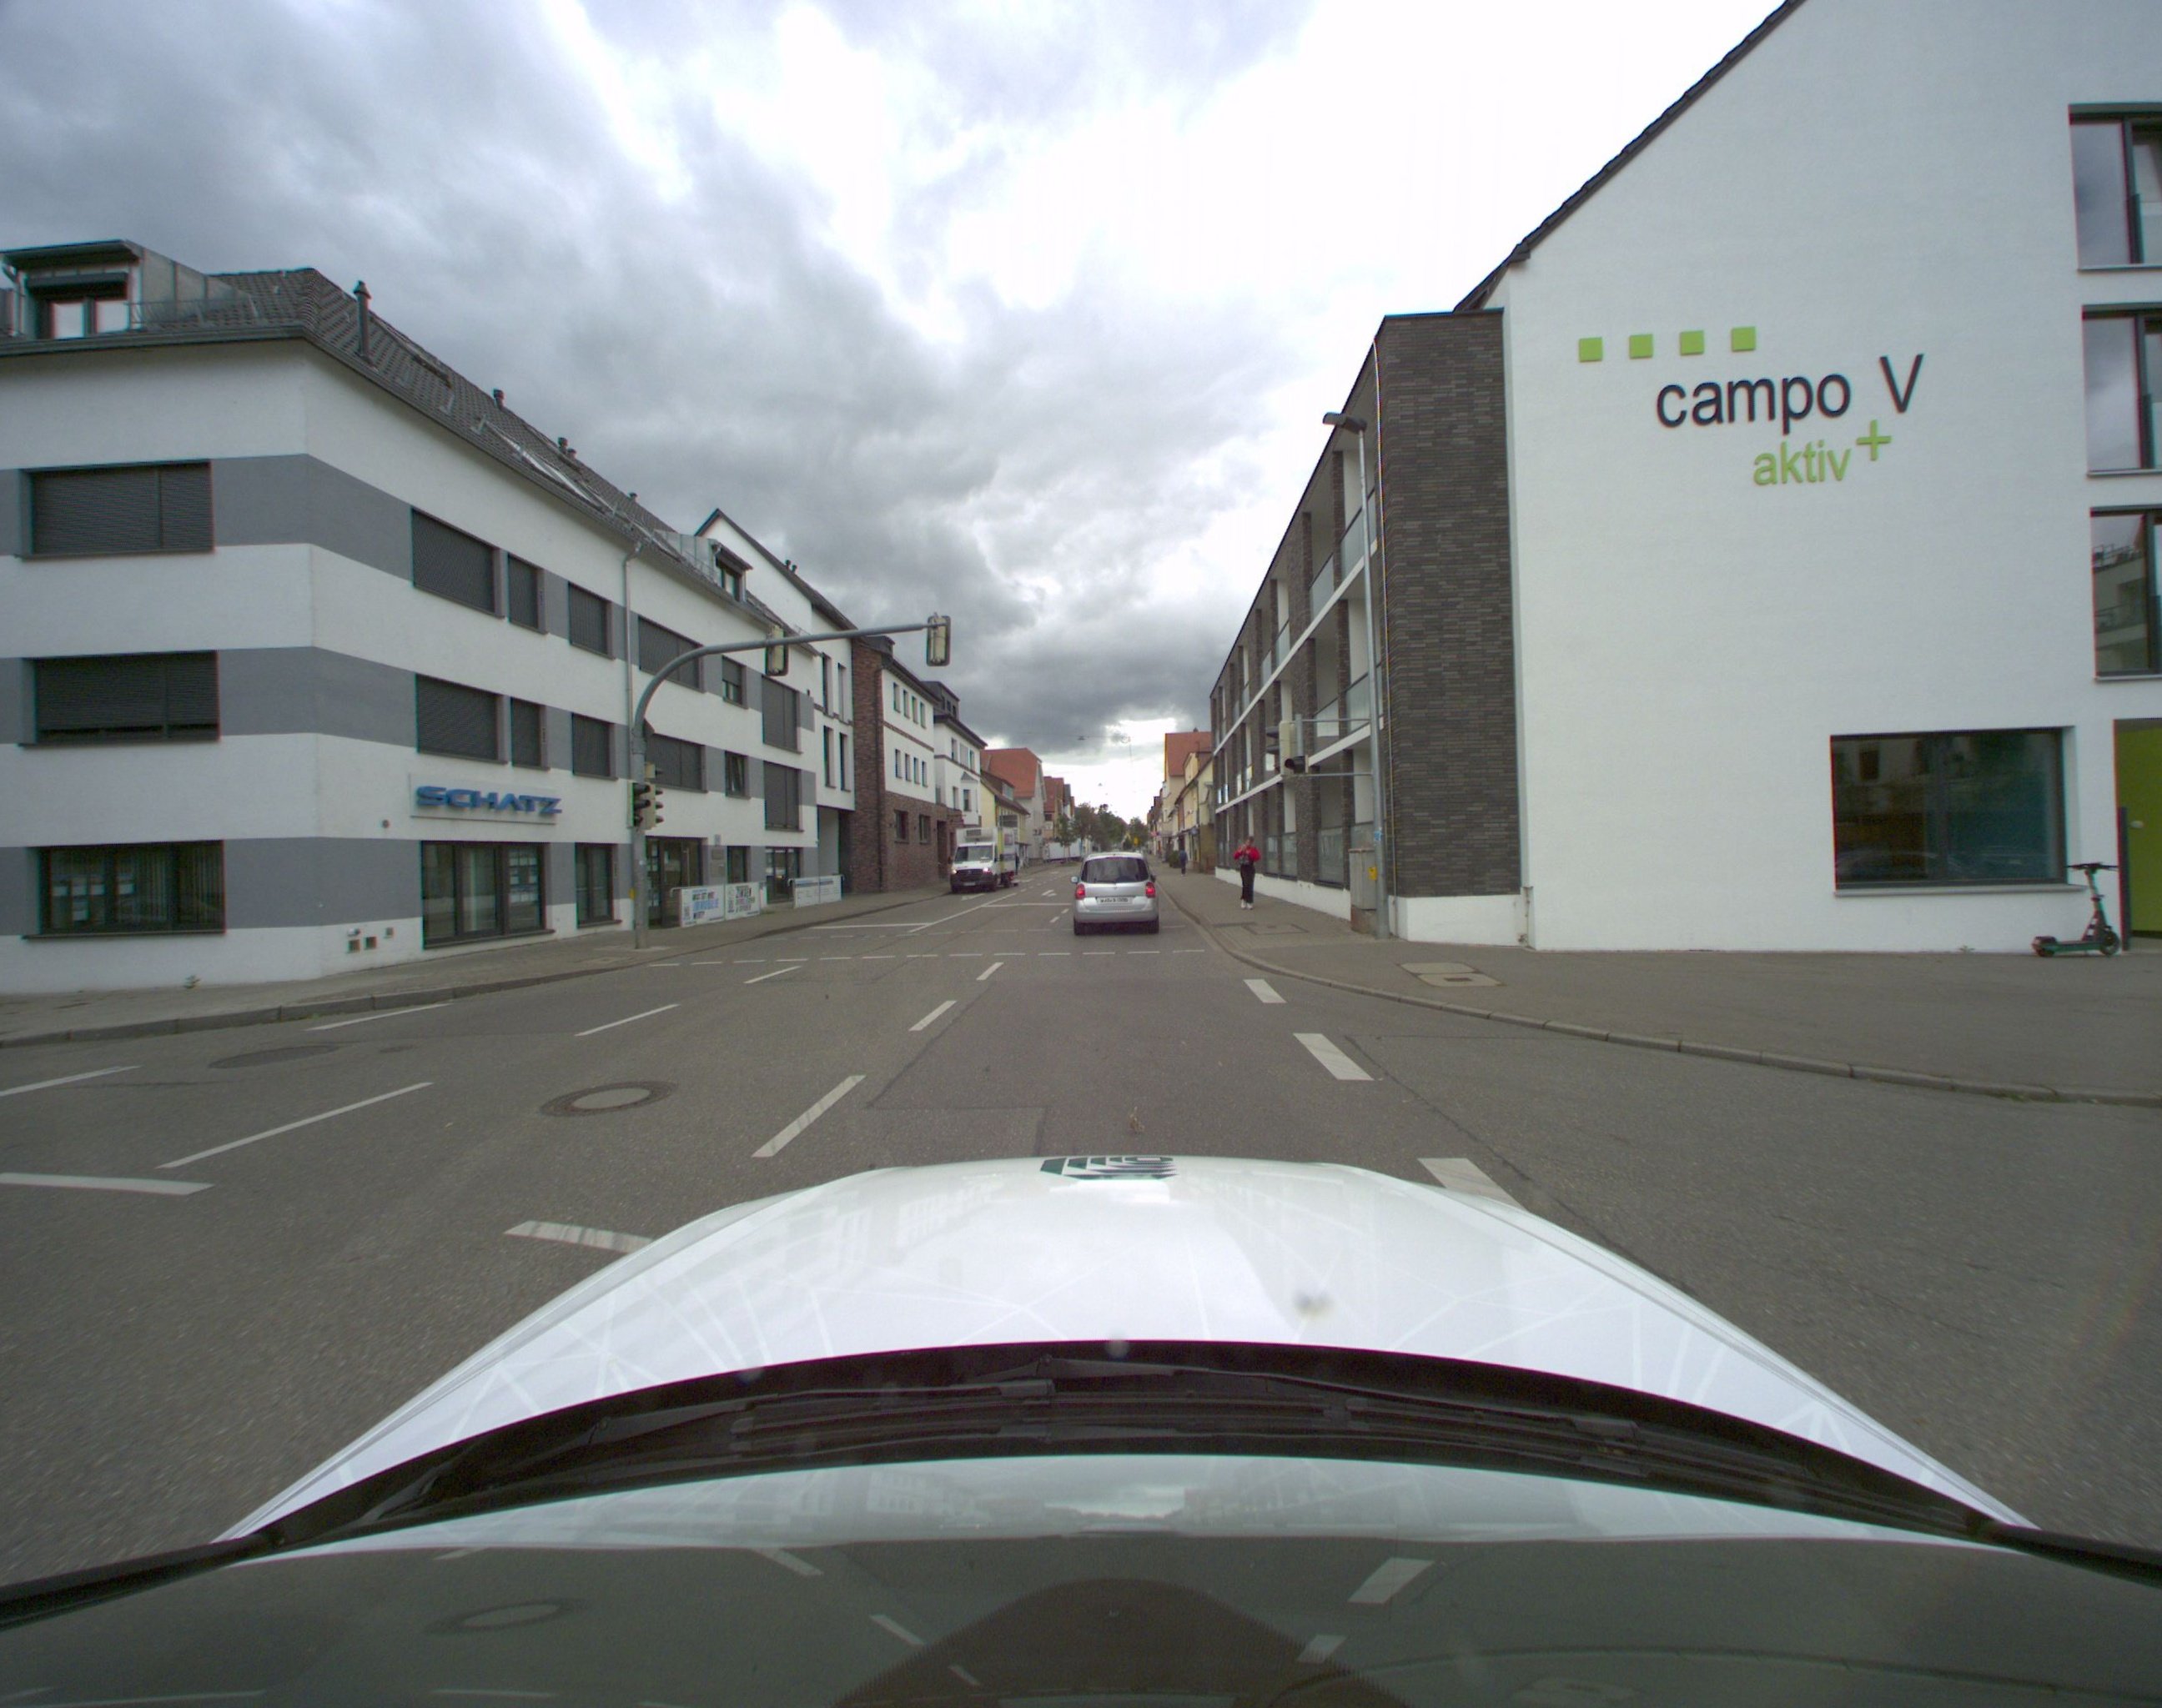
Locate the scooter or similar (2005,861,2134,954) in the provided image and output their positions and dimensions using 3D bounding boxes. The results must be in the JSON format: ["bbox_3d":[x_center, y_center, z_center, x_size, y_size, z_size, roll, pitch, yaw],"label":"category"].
[{"bbox_3d":[13.507,0.717,11.147,1.225,1.235,0.407,0,0,3],"label":"scooter or similar"}]

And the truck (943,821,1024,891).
[{"bbox_3d":[-4.517,0.067,39.406,2.425,2.953,8.370,-2,0,3],"label":"truck"}]

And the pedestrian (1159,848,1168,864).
[{"bbox_3d":[9.275,0.216,91.611,0.885,1.787,0.786,-4,0,3],"label":"pedestrian"}]

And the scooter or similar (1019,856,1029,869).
[{"bbox_3d":[-5.804,0.823,83.032,0.573,1.269,2.551,-2,0,4],"label":"scooter or similar"}]

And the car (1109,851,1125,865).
[{"bbox_3d":[3.996,0.420,90.922,1.699,1.579,4.003,0,0,3],"label":"car"}]

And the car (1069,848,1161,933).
[{"bbox_3d":[0.737,0.670,17.119,1.699,1.579,4.003,0,0,3],"label":"car"}]

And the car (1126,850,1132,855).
[{"bbox_3d":[14.069,-0.407,238.564,1.805,1.354,4.004,-2,0,4],"label":"car"}]

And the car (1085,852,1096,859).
[{"bbox_3d":[1.816,0.268,152.894,1.805,1.354,4.004,-2,0,4],"label":"car"}]

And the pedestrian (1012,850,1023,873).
[{"bbox_3d":[-4.720,0.549,60.545,0.659,1.757,0.688,0,0,3],"label":"pedestrian"}]

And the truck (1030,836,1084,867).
[{"bbox_3d":[-3.284,-0.361,110.760,6.830,3.857,2.594,-2,0,-12],"label":"truck"}]

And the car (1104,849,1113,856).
[{"bbox_3d":[6.346,-0.376,188.097,1.805,1.354,3.861,-2,0,4],"label":"car"}]

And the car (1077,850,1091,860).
[{"bbox_3d":[0.463,0.158,125.904,1.805,1.354,4.004,-2,0,4],"label":"car"}]

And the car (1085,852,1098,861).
[{"bbox_3d":[1.667,0.349,131.331,1.805,1.354,4.004,-2,0,4],"label":"car"}]

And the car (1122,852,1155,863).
[{"bbox_3d":[7.110,0.454,100.467,3.740,1.314,1.511,0,0,-18],"label":"car"}]

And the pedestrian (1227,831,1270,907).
[{"bbox_3d":[4.111,0.362,20.077,0.804,1.787,0.862,-4,0,3],"label":"pedestrian"}]

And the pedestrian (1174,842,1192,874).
[{"bbox_3d":[6.068,0.243,48.413,0.885,1.787,0.786,-4,0,3],"label":"pedestrian"}]
